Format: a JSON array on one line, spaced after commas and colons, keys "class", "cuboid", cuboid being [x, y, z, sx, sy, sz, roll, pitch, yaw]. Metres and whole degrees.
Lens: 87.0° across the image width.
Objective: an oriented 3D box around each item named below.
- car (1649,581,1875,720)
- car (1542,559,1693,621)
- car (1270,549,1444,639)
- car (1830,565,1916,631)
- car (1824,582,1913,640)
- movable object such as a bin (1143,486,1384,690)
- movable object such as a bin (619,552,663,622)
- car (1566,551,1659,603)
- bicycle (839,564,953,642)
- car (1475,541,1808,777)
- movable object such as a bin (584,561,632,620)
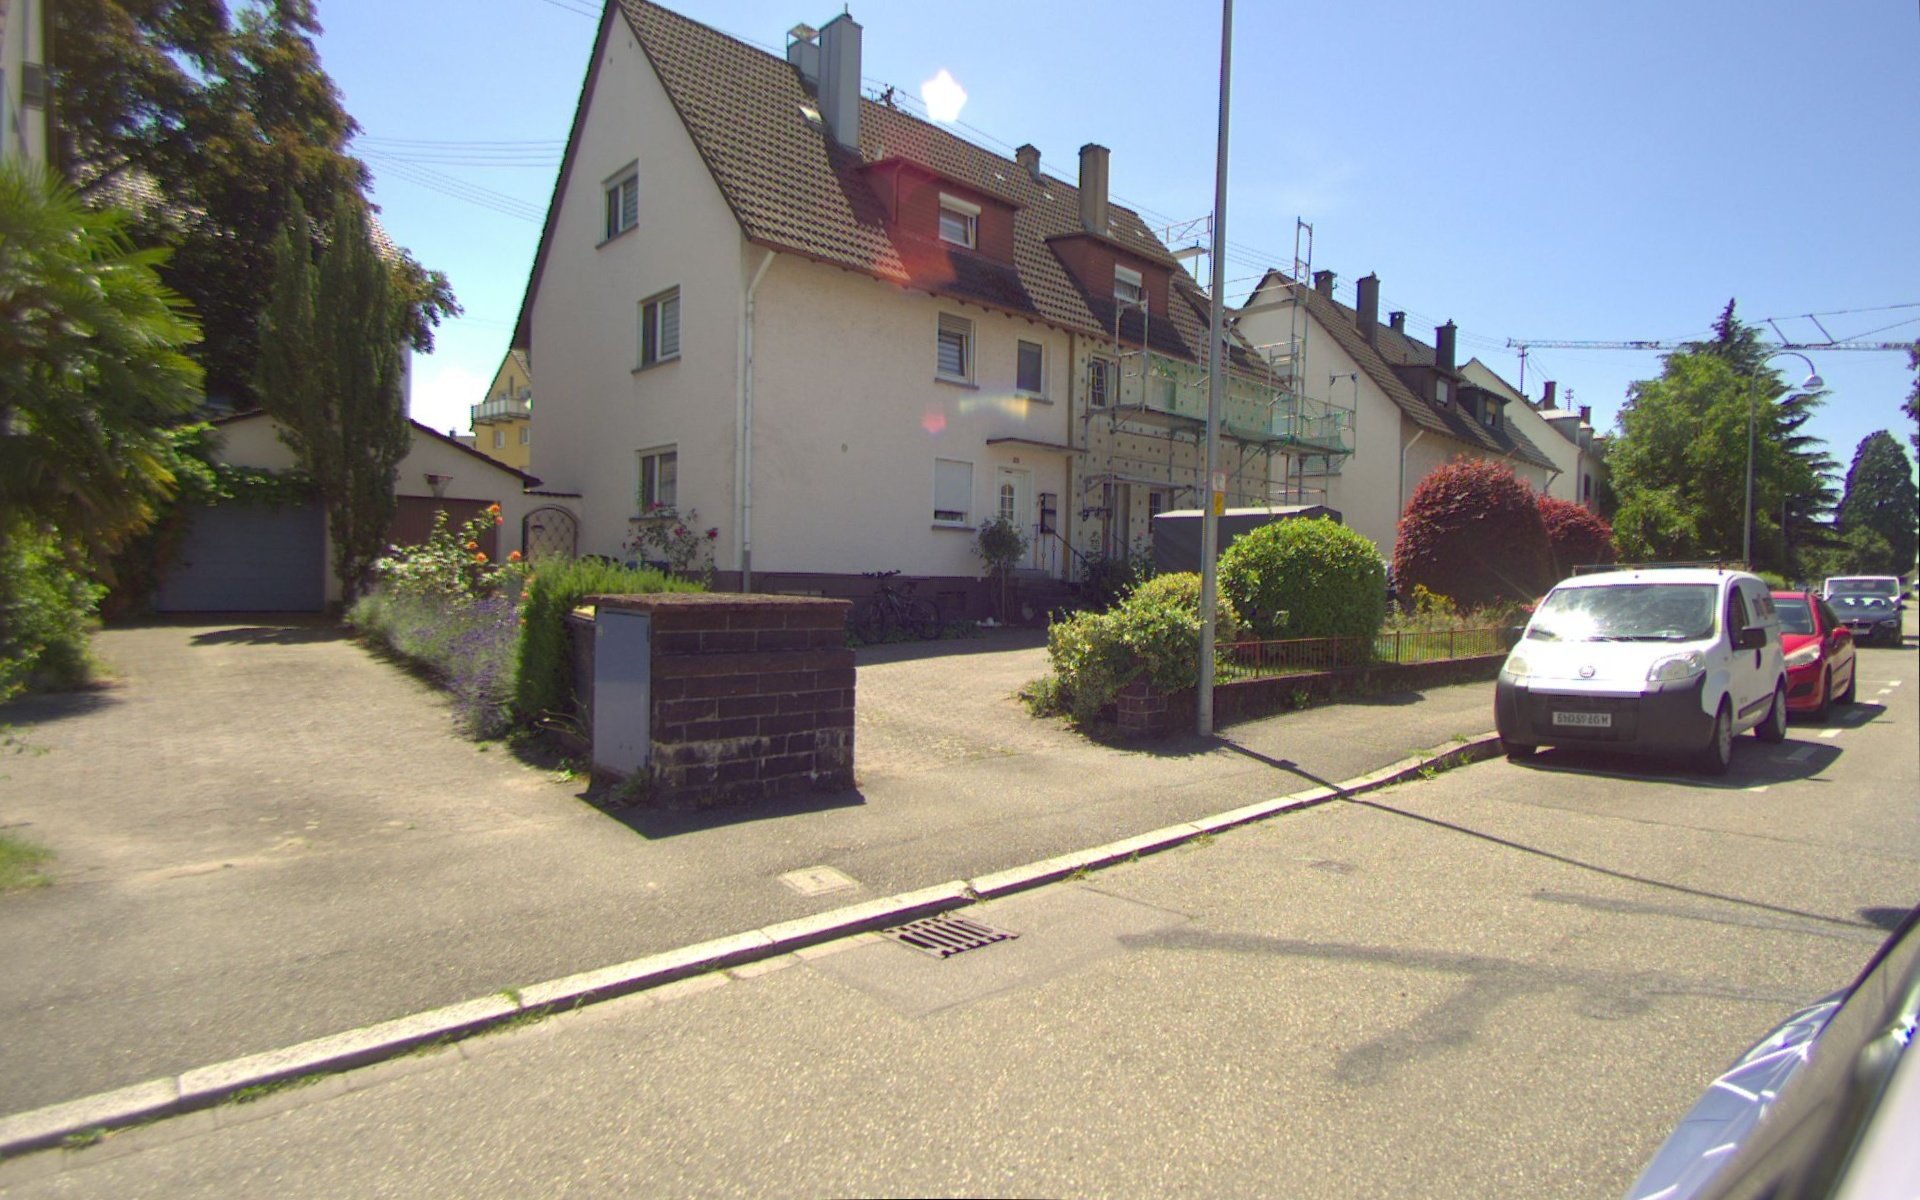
[{"class": "car", "cuboid": [10.210, 0.511, 12.775, 3.933, 1.473, 1.665, -1, 1, -43]}, {"class": "car", "cuboid": [19.662, -0.332, 30.263, 3.967, 1.552, 1.750, -3, 5, -21]}, {"class": "car", "cuboid": [7.846, -0.141, 19.810, 1.795, 1.528, 3.937, 4, 3, 43]}, {"class": "car", "cuboid": [29.080, -0.131, 32.300, 1.902, 1.948, 4.648, 1, 2, 42]}, {"class": "car", "cuboid": [24.004, 0.232, 26.702, 1.656, 1.415, 3.938, 1, 2, 43]}, {"class": "movable object such as a bin", "cuboid": [4.597, -0.191, 15.546, 1.679, 2.781, 3.147, -1, 1, -44]}, {"class": "movable object such as a bin", "cuboid": [-5.479, -0.227, 17.355, 0.524, 1.165, 0.600, 0, 1, -42]}, {"class": "car", "cuboid": [25.715, -0.892, 39.831, 4.320, 1.879, 1.749, 1, 3, -40]}, {"class": "bicycle", "cuboid": [-0.989, 0.023, 15.963, 1.912, 1.121, 0.455, -3, 5, -41]}, {"class": "car", "cuboid": [6.552, 0.393, 9.558, 3.932, 1.777, 1.666, -2, 0, -42]}, {"class": "movable object such as a bin", "cuboid": [-6.259, -0.178, 17.969, 0.524, 1.014, 0.854, 0, 2, -41]}]
